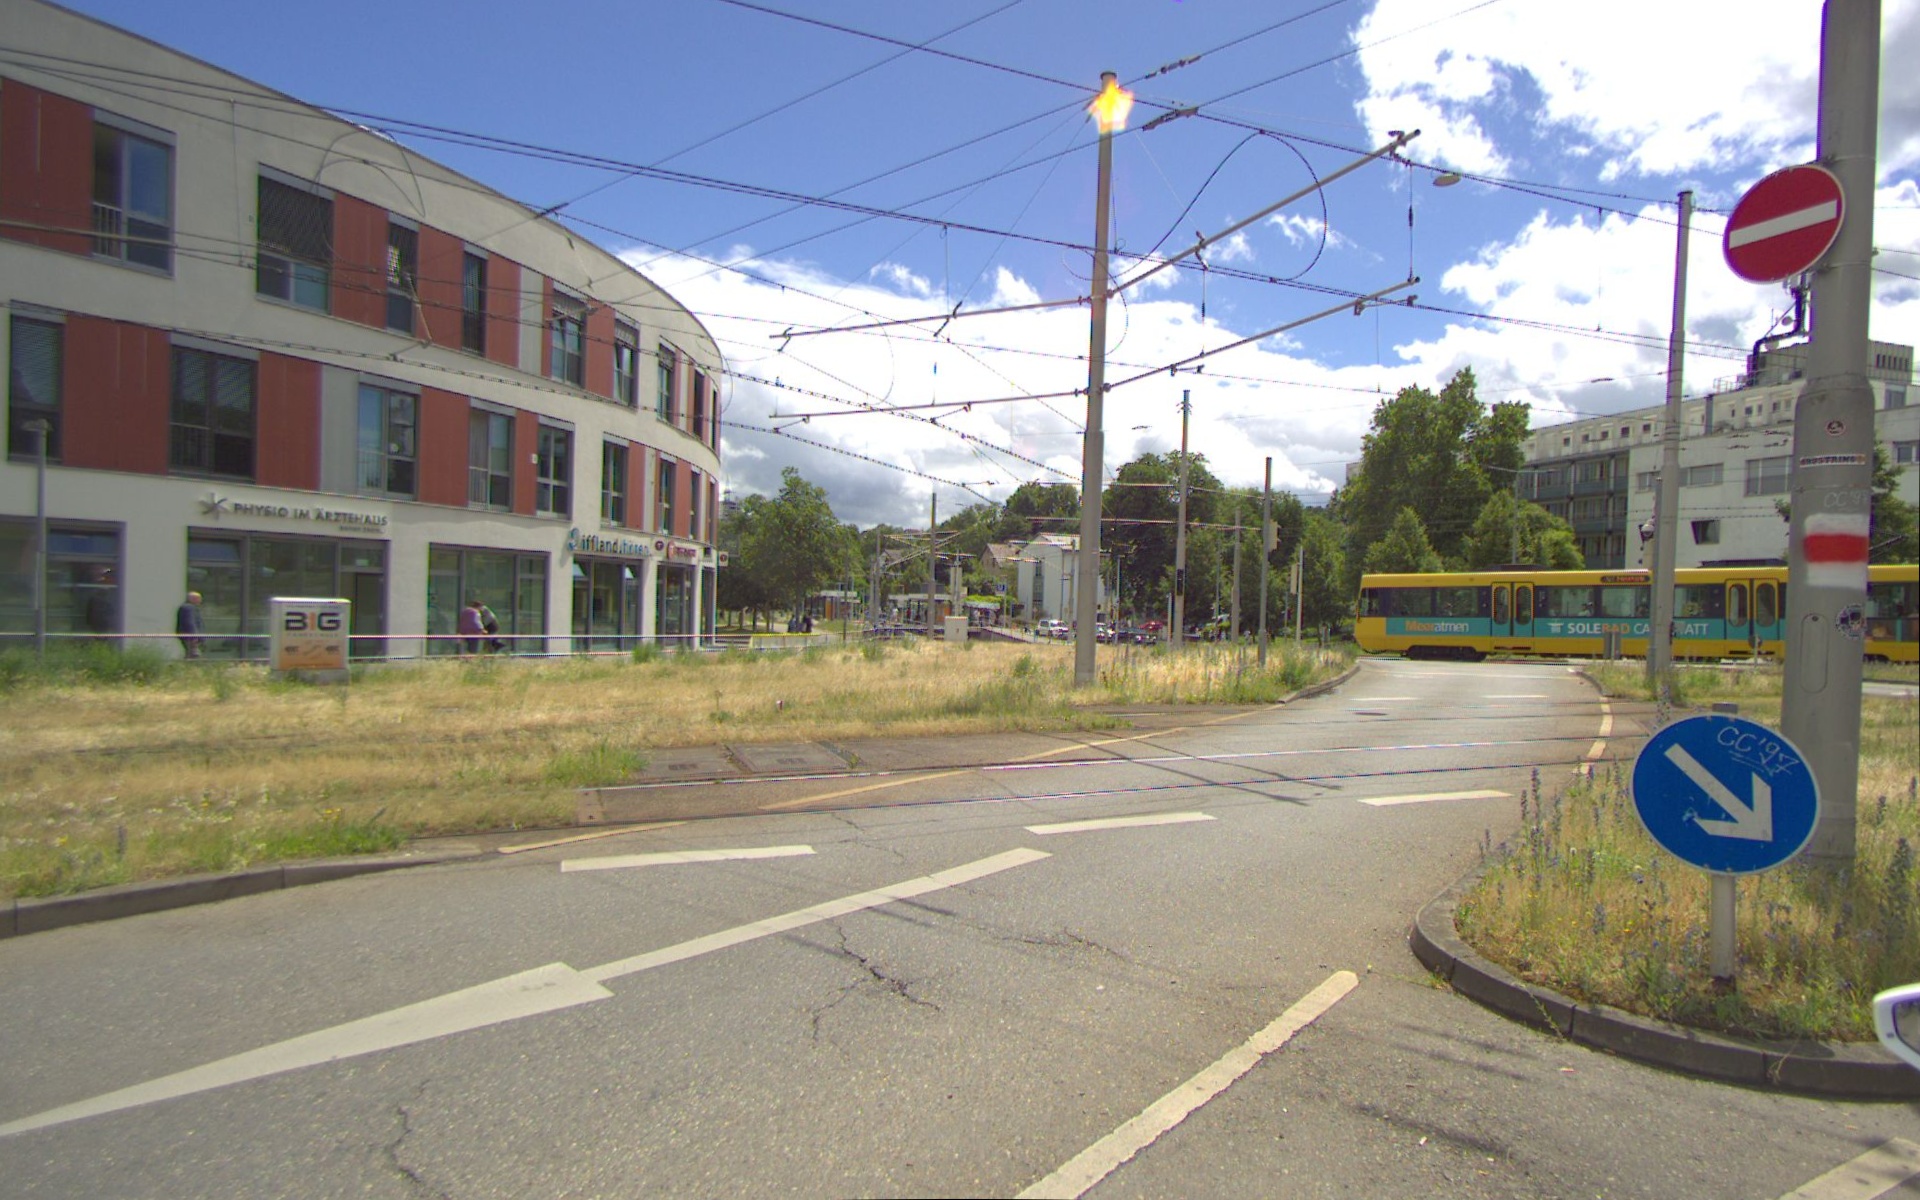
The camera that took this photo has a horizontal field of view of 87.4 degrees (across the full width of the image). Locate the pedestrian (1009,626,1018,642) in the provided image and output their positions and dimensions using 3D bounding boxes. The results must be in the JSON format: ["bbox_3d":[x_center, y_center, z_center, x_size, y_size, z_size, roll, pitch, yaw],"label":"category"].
[{"bbox_3d":[6.219,3.956,117.600,0.818,1.891,0.818,1,0,-15],"label":"pedestrian"}]

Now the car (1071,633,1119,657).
[{"bbox_3d":[9.911,3.276,74.134,1.889,1.672,4.239,2,-2,-18],"label":"car"}]

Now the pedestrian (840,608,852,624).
[{"bbox_3d":[-14.948,2.101,131.505,1.241,2.040,1.121,2,-2,-18],"label":"pedestrian"}]

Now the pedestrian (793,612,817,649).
[{"bbox_3d":[-6.977,1.380,45.148,0.847,1.646,0.733,1,-1,8],"label":"pedestrian"}]

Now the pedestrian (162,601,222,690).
[{"bbox_3d":[-14.126,0.820,18.480,0.724,1.601,0.688,0,-1,38],"label":"pedestrian"}]

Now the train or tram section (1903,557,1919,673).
[{"bbox_3d":[41.543,0.605,30.522,19.739,3.880,3.764,1,-2,12],"label":"train or tram section"}]

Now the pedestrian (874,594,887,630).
[{"bbox_3d":[-13.807,2.073,173.445,1.963,5.998,2.368,1,-1,-9],"label":"pedestrian"}]

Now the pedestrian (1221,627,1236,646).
[{"bbox_3d":[21.856,2.967,81.716,0.830,1.597,0.811,1,0,-24],"label":"pedestrian"}]

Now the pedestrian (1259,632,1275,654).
[{"bbox_3d":[23.131,3.255,75.646,0.830,1.597,0.811,1,0,-24],"label":"pedestrian"}]

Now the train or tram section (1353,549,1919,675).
[{"bbox_3d":[24.861,0.437,37.532,18.575,3.970,3.752,0,-2,34],"label":"train or tram section"}]

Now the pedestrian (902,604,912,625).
[{"bbox_3d":[-5.240,1.425,99.427,0.806,2.040,0.771,2,-1,-15],"label":"pedestrian"}]

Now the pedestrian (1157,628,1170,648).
[{"bbox_3d":[18.917,3.541,93.393,0.818,1.891,0.818,1,0,-15],"label":"pedestrian"}]

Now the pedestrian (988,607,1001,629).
[{"bbox_3d":[2.752,1.439,79.817,0.824,1.714,0.616,1,0,-16],"label":"pedestrian"}]

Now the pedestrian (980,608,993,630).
[{"bbox_3d":[2.150,1.550,81.190,0.824,1.755,0.796,1,0,-15],"label":"pedestrian"}]

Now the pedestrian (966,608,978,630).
[{"bbox_3d":[0.981,1.534,81.906,0.824,1.777,0.796,1,0,-15],"label":"pedestrian"}]

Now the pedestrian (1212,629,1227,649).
[{"bbox_3d":[21.049,3.173,81.509,0.830,1.597,0.811,1,0,-24],"label":"pedestrian"}]

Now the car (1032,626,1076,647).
[{"bbox_3d":[7.464,2.900,80.470,1.908,1.575,4.475,2,-2,-18],"label":"car"}]

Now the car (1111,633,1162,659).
[{"bbox_3d":[12.992,3.345,74.130,1.991,1.814,4.223,2,-2,-18],"label":"car"}]

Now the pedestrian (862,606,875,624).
[{"bbox_3d":[-10.730,1.763,117.523,1.241,2.040,1.121,2,-2,-18],"label":"pedestrian"}]

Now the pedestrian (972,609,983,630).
[{"bbox_3d":[1.403,1.602,82.636,0.744,1.707,0.671,1,0,-15],"label":"pedestrian"}]

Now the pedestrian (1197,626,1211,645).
[{"bbox_3d":[20.974,3.010,86.317,0.830,1.597,0.811,1,0,-24],"label":"pedestrian"}]

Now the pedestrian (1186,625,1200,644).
[{"bbox_3d":[19.927,2.972,85.826,0.830,1.597,0.811,1,0,-24],"label":"pedestrian"}]

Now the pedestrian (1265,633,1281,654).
[{"bbox_3d":[23.821,3.294,76.385,0.830,1.597,0.811,1,0,-24],"label":"pedestrian"}]

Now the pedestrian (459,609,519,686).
[{"bbox_3d":[-12.462,1.245,26.580,0.849,1.994,1.114,0,-2,29],"label":"pedestrian"}]

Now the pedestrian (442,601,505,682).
[{"bbox_3d":[-12.403,1.050,25.634,0.849,1.994,1.104,0,-2,30],"label":"pedestrian"}]

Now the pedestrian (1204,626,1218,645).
[{"bbox_3d":[20.789,2.947,83.270,0.830,1.597,0.811,1,0,-24],"label":"pedestrian"}]

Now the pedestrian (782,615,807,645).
[{"bbox_3d":[-9.206,1.662,55.789,0.977,1.646,1.024,2,-2,-41],"label":"pedestrian"}]
